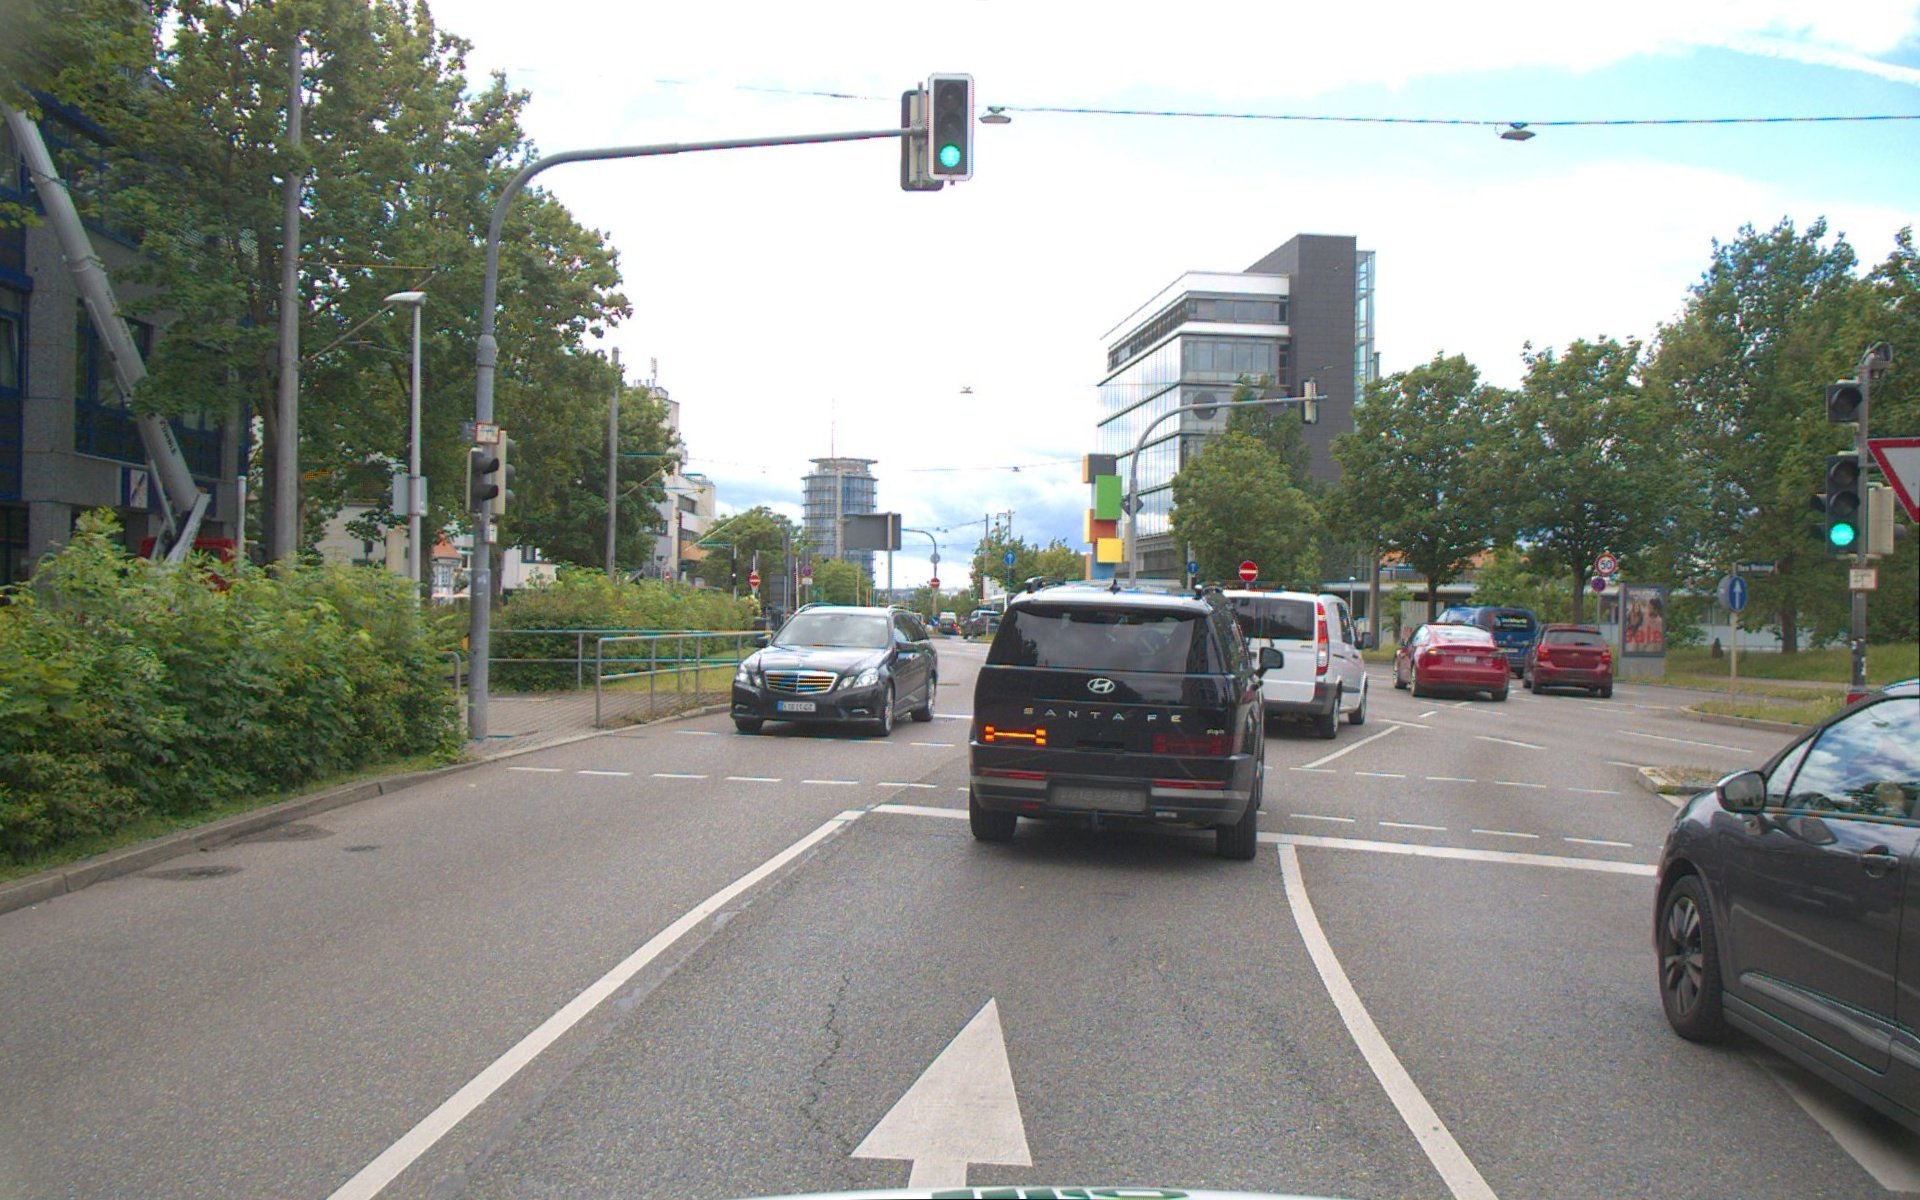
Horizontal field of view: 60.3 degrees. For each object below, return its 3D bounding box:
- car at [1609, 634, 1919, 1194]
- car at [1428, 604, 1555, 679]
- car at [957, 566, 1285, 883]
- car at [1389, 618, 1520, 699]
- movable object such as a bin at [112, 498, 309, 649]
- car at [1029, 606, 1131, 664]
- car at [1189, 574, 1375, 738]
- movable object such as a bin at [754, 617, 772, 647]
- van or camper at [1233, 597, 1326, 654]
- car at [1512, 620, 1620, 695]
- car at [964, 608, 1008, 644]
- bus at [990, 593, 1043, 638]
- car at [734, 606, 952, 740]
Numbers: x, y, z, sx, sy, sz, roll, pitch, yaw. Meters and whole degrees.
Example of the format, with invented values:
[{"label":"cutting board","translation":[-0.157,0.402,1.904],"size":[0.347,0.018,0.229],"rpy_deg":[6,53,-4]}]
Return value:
[{"label":"car","translation":[3.519,0.912,5.116],"size":[1.665,1.486,4.064],"rpy_deg":[2,0,5]},{"label":"car","translation":[14.673,1.111,45.951],"size":[1.863,1.891,4.708],"rpy_deg":[2,0,-1]},{"label":"car","translation":[1.335,0.740,11.923],"size":[1.861,1.762,4.450],"rpy_deg":[2,0,10]},{"label":"car","translation":[10.004,1.139,33.747],"size":[1.833,1.443,4.446],"rpy_deg":[2,0,8]},{"label":"movable object such as a bin","translation":[-14.232,-0.489,31.687],"size":[1.867,2.575,4.125],"rpy_deg":[4,0,-2]},{"label":"car","translation":[3.412,0.980,47.981],"size":[1.752,1.450,4.382],"rpy_deg":[2,0,-12]},{"label":"car","translation":[4.656,0.745,23.402],"size":[1.863,2.003,4.637],"rpy_deg":[2,0,19]},{"label":"movable object such as a bin","translation":[-6.886,1.114,57.719],"size":[0.553,1.030,0.836],"rpy_deg":[1,-1,-12]},{"label":"van or camper","translation":[11.832,0.910,61.467],"size":[1.957,1.951,4.399],"rpy_deg":[2,1,-9]},{"label":"car","translation":[13.450,1.232,36.886],"size":[1.707,1.507,3.721],"rpy_deg":[2,0,12]},{"label":"car","translation":[1.461,1.469,94.948],"size":[1.865,1.891,4.703],"rpy_deg":[2,0,-6]},{"label":"bus","translation":[4.112,1.169,122.585],"size":[2.908,3.171,9.234],"rpy_deg":[0,-1,-5]},{"label":"car","translation":[-1.304,0.811,20.566],"size":[1.806,1.462,4.709],"rpy_deg":[0,0,7]}]
